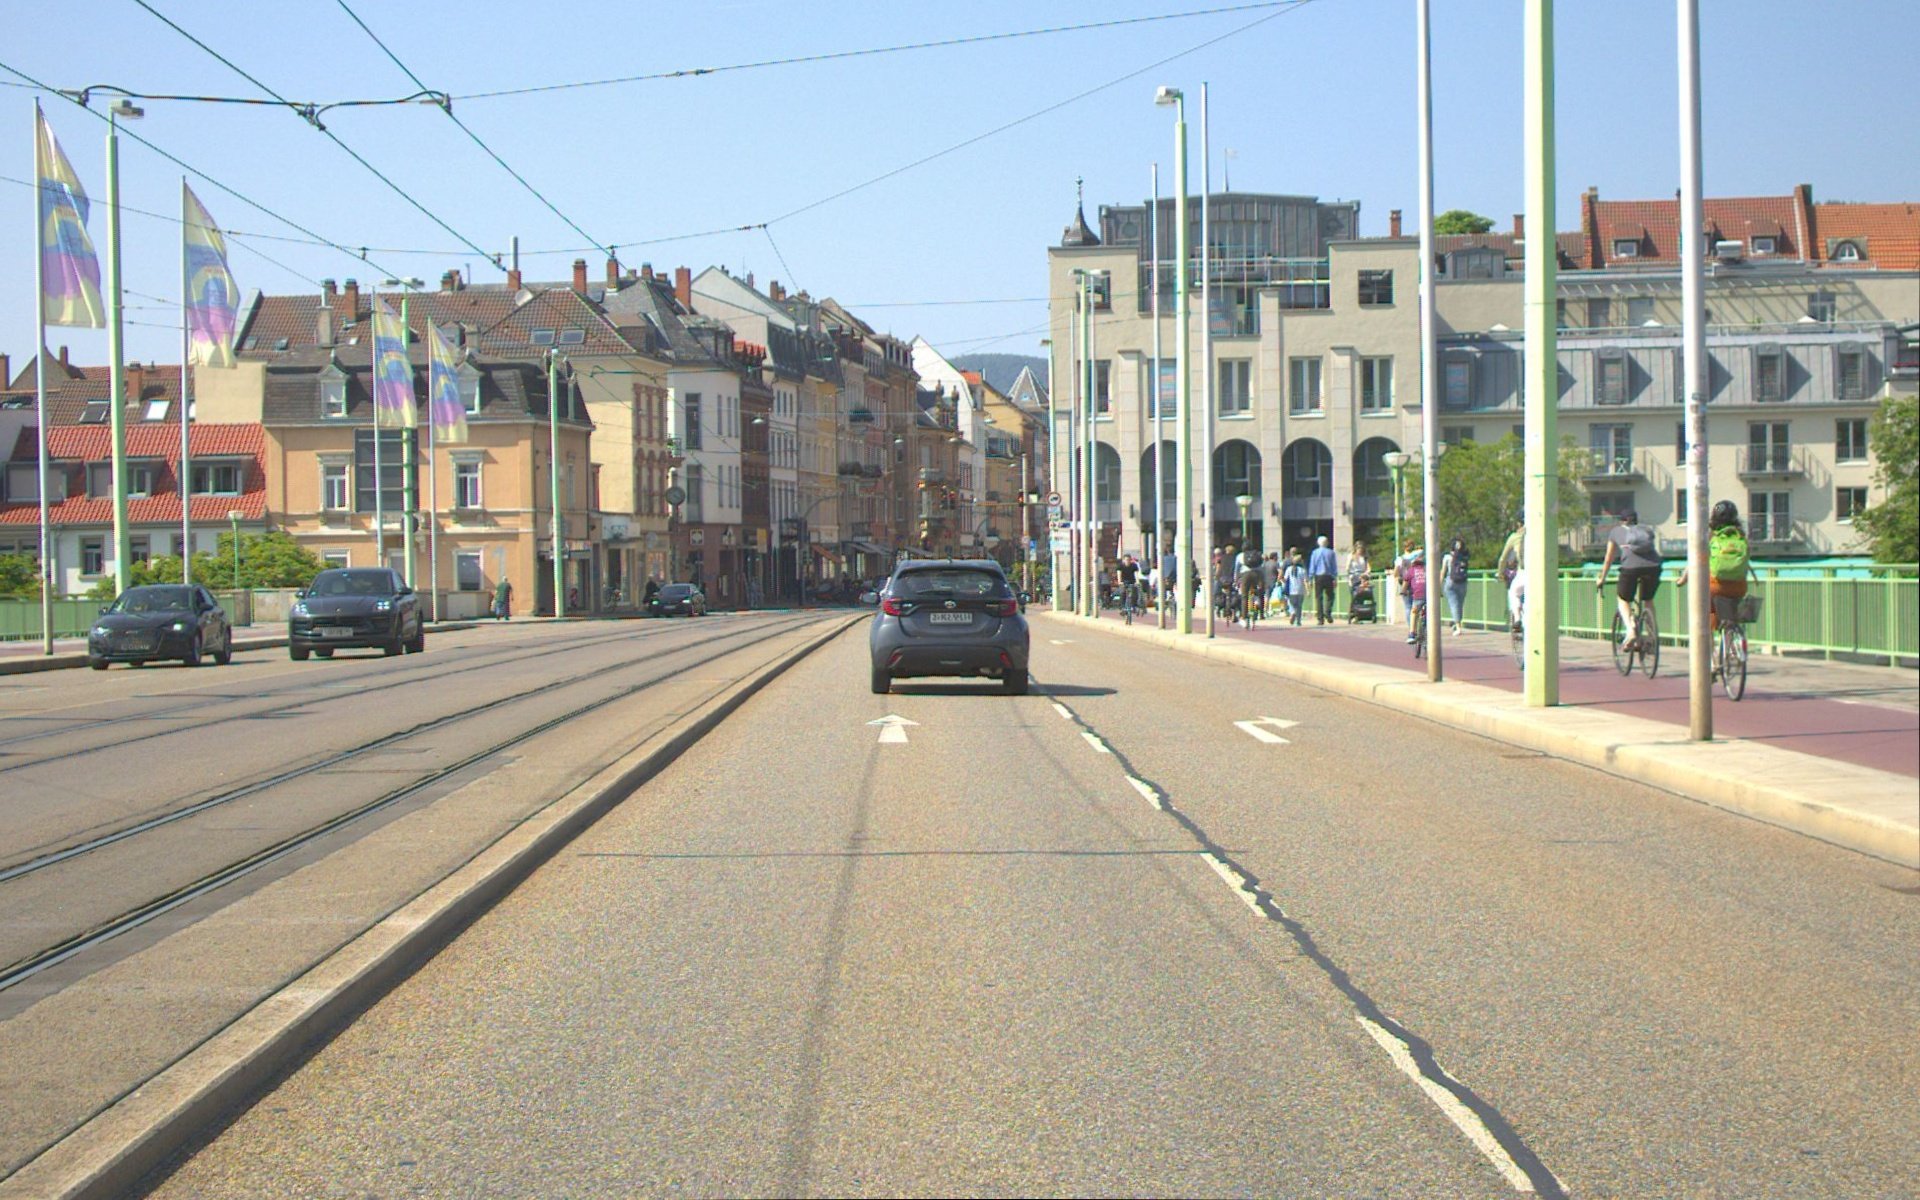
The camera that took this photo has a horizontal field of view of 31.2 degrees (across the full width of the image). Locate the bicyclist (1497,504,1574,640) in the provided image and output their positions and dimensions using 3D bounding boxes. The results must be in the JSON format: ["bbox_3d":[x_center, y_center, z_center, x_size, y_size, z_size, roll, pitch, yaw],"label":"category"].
[{"bbox_3d":[6.952,-0.342,41.575,0.735,1.630,0.867,-1,1,-2],"label":"bicyclist"}]

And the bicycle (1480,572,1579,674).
[{"bbox_3d":[6.063,0.227,36.683,0.618,1.034,2.051,-1,1,-3],"label":"bicycle"}]

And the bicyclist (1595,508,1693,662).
[{"bbox_3d":[6.811,-0.157,34.256,0.735,1.495,0.980,-1,1,-2],"label":"bicyclist"}]

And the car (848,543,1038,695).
[{"bbox_3d":[-0.245,0.173,38.791,1.910,1.535,4.001,-1,2,-3],"label":"car"}]

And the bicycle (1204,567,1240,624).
[{"bbox_3d":[5.611,-0.104,73.669,0.526,1.174,2.029,-1,1,-2],"label":"bicycle"}]

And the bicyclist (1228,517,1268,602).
[{"bbox_3d":[5.744,-0.816,68.620,0.656,1.670,0.869,-1,1,-3],"label":"bicyclist"}]

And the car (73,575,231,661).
[{"bbox_3d":[-13.839,0.285,59.081,1.758,1.358,4.384,-1,1,-1],"label":"car"}]

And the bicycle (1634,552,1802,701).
[{"bbox_3d":[6.329,0.204,28.812,0.695,1.189,2.080,-1,1,-7],"label":"bicycle"}]

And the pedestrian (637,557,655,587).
[{"bbox_3d":[-14.924,-1.337,163.241,0.763,1.393,0.663,-1,1,2],"label":"pedestrian"}]

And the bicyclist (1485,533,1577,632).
[{"bbox_3d":[6.079,-0.191,36.655,0.735,1.027,1.175,-1,1,-2],"label":"bicyclist"}]

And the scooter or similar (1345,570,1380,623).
[{"bbox_3d":[8.324,-0.072,71.118,0.588,1.065,0.865,-1,1,-3],"label":"scooter or similar"}]

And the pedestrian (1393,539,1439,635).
[{"bbox_3d":[7.590,-0.230,57.298,0.599,1.580,0.867,-1,1,-3],"label":"pedestrian"}]

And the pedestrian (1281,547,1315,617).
[{"bbox_3d":[7.139,-0.385,72.642,0.613,1.460,0.848,-1,1,-1],"label":"pedestrian"}]

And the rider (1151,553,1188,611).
[{"bbox_3d":[5.509,-0.466,90.396,0.889,1.499,0.841,-1,1,-2],"label":"rider"}]

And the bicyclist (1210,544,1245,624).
[{"bbox_3d":[5.705,-0.339,73.412,0.627,1.683,0.869,-1,1,-2],"label":"bicyclist"}]

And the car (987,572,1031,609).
[{"bbox_3d":[2.122,-0.428,147.897,1.804,1.464,4.000,-2,1,2],"label":"car"}]

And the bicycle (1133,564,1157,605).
[{"bbox_3d":[5.414,-0.461,100.467,0.666,1.174,2.029,-1,1,2],"label":"bicycle"}]

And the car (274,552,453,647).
[{"bbox_3d":[-10.596,-0.037,61.378,1.994,1.594,4.337,-1,1,6],"label":"car"}]

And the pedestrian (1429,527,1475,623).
[{"bbox_3d":[8.200,-0.414,57.326,0.599,1.580,0.867,-1,1,-3],"label":"pedestrian"}]

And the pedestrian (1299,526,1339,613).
[{"bbox_3d":[7.484,-0.639,71.677,0.712,1.804,0.848,-1,1,-1],"label":"pedestrian"}]

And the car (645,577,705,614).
[{"bbox_3d":[-12.072,-0.212,145.895,1.994,1.474,4.000,-1,1,4],"label":"car"}]

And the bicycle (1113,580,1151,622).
[{"bbox_3d":[4.130,0.016,82.812,0.653,0.978,2.178,-2,0,-3],"label":"bicycle"}]

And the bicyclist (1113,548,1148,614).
[{"bbox_3d":[4.107,-0.450,82.872,0.653,1.561,1.338,-2,0,-3],"label":"bicyclist"}]

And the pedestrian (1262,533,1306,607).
[{"bbox_3d":[7.795,-0.721,82.736,0.929,1.755,0.938,-1,1,-1],"label":"pedestrian"}]

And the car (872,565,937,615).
[{"bbox_3d":[-1.772,-0.319,107.896,1.803,1.464,4.001,-2,1,-3],"label":"car"}]

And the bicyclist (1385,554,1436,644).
[{"bbox_3d":[5.645,-0.017,43.068,0.599,1.098,0.852,-1,1,9],"label":"bicyclist"}]

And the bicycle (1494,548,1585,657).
[{"bbox_3d":[6.968,0.009,41.449,0.618,1.266,2.216,-1,1,-3],"label":"bicycle"}]

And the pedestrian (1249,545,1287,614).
[{"bbox_3d":[7.563,-0.513,84.534,0.834,1.683,0.869,-1,1,-1],"label":"pedestrian"}]

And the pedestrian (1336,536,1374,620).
[{"bbox_3d":[8.274,-0.463,71.992,0.641,1.750,0.867,-1,1,-3],"label":"pedestrian"}]

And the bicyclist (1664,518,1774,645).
[{"bbox_3d":[6.348,-0.162,28.775,0.666,1.041,0.980,-1,1,-2],"label":"bicyclist"}]

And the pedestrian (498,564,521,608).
[{"bbox_3d":[-17.387,-0.549,132.622,0.763,1.659,0.663,-1,1,2],"label":"pedestrian"}]

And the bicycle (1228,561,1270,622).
[{"bbox_3d":[5.762,-0.183,68.688,0.593,1.174,1.940,-1,1,-2],"label":"bicycle"}]

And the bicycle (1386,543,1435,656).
[{"bbox_3d":[5.654,-0.021,43.095,0.534,1.362,2.215,-1,1,9],"label":"bicycle"}]

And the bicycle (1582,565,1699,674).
[{"bbox_3d":[6.784,0.174,34.370,0.618,1.034,2.267,-1,1,-3],"label":"bicycle"}]
